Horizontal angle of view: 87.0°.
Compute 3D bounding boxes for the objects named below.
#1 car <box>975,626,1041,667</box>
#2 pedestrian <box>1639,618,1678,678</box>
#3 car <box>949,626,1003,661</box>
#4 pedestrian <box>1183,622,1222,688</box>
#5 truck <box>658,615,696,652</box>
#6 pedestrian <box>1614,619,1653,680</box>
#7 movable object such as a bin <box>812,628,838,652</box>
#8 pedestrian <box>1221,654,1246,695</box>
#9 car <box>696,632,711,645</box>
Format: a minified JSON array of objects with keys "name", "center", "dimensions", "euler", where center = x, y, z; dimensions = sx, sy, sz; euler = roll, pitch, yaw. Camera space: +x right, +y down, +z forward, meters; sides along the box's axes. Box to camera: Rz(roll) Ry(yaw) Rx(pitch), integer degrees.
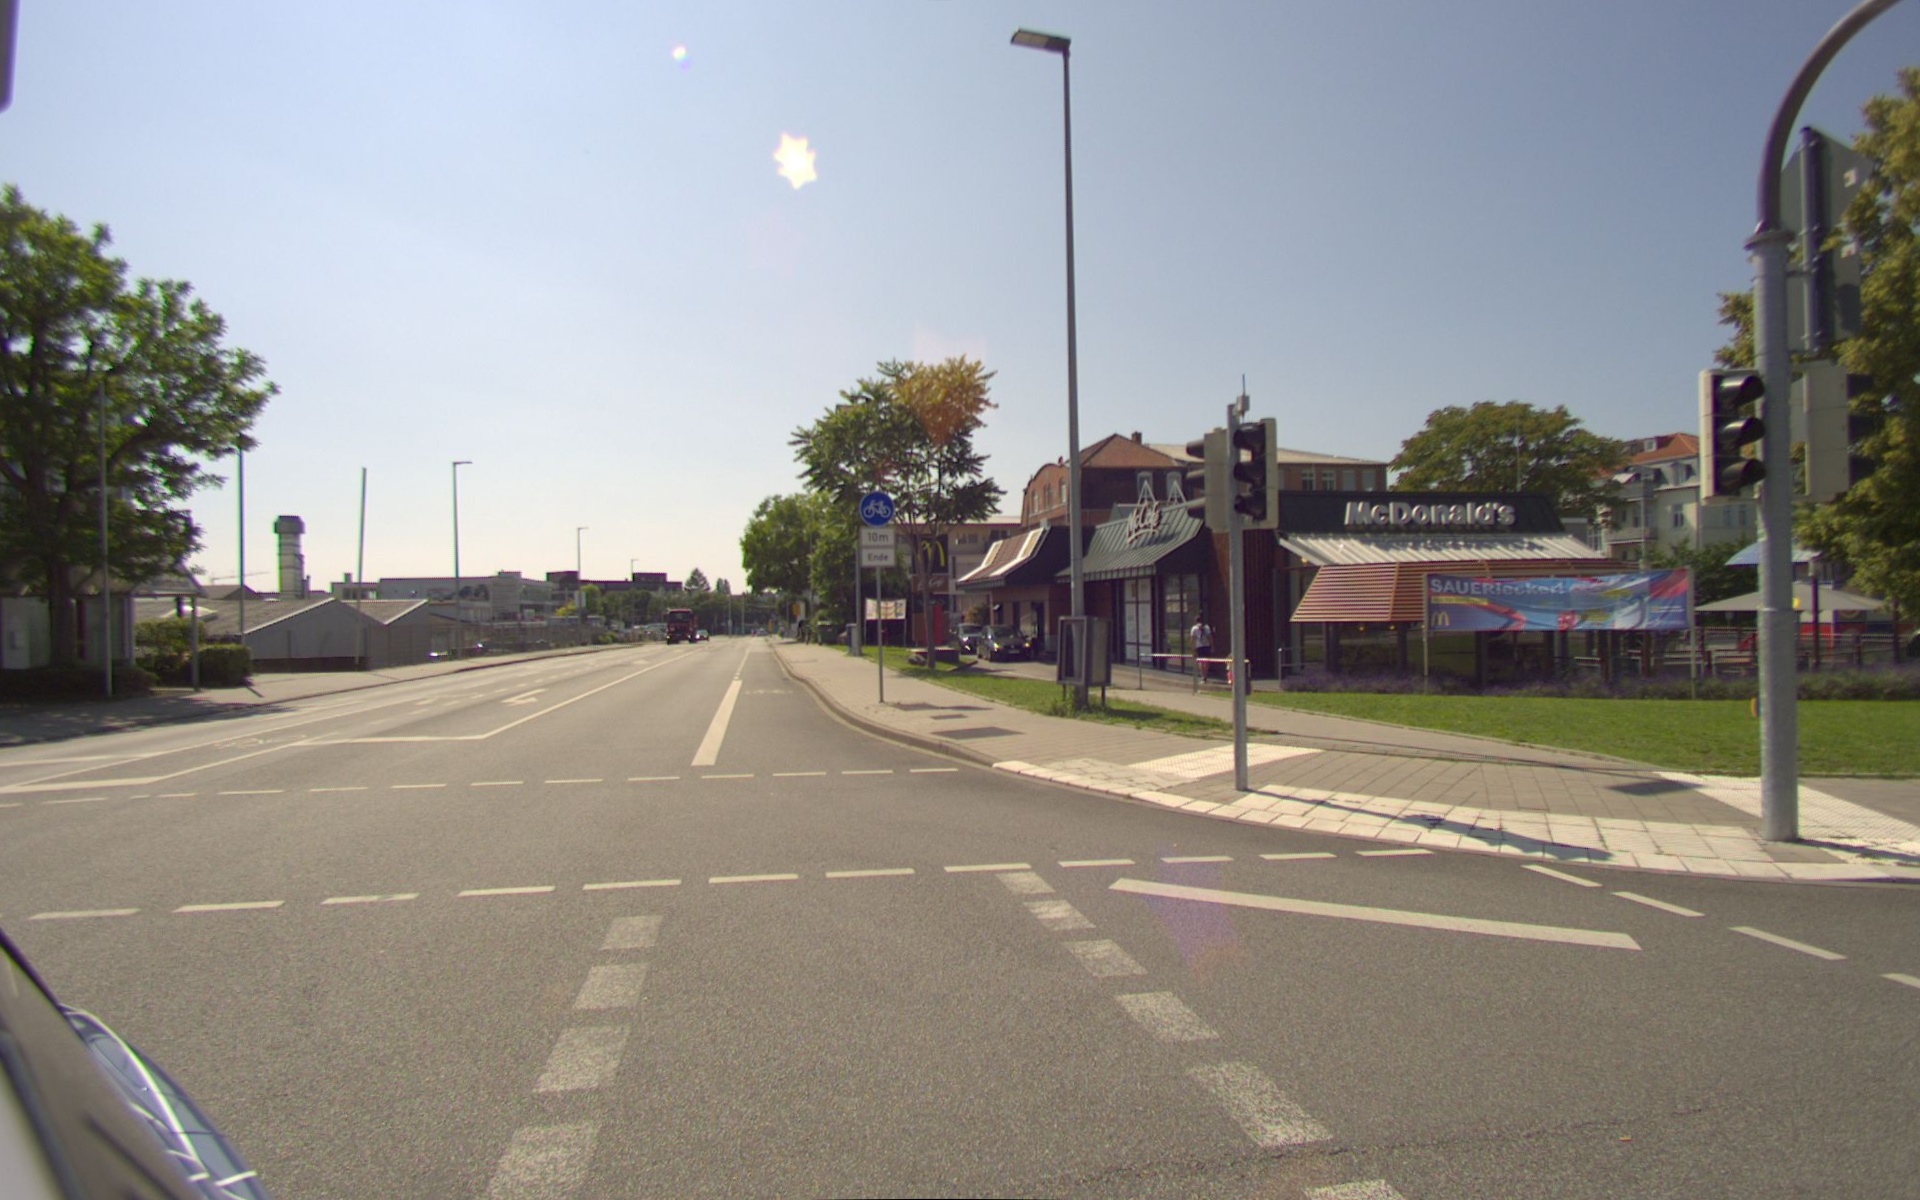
[{"name":"car","center":[1.922,1.878,42.048],"dimensions":[1.835,1.564,4.196],"euler":[-1,-1,-10]},{"name":"pedestrian","center":[23.939,1.633,34.689],"dimensions":[0.740,2.029,0.837],"euler":[0,-2,-34]},{"name":"car","center":[0.731,2.053,48.715],"dimensions":[1.835,1.564,4.196],"euler":[-1,-1,-10]},{"name":"pedestrian","center":[6.640,1.492,27.722],"dimensions":[0.627,1.771,0.895],"euler":[-1,-2,-15]},{"name":"truck","center":[-28.235,3.299,101.269],"dimensions":[3.259,3.412,9.192],"euler":[-1,-1,-13]},{"name":"pedestrian","center":[22.920,1.673,34.460],"dimensions":[0.740,2.029,0.837],"euler":[0,-2,-34]},{"name":"movable object such as a bin","center":[-8.098,2.384,60.680],"dimensions":[1.445,1.422,1.459],"euler":[-1,-1,-11]},{"name":"pedestrian","center":[7.016,1.901,25.963],"dimensions":[0.375,1.005,0.512],"euler":[-1,-2,-15]},{"name":"car","center":[-34.097,5.106,134.380],"dimensions":[1.805,1.674,4.011],"euler":[-1,-1,-15]}]
